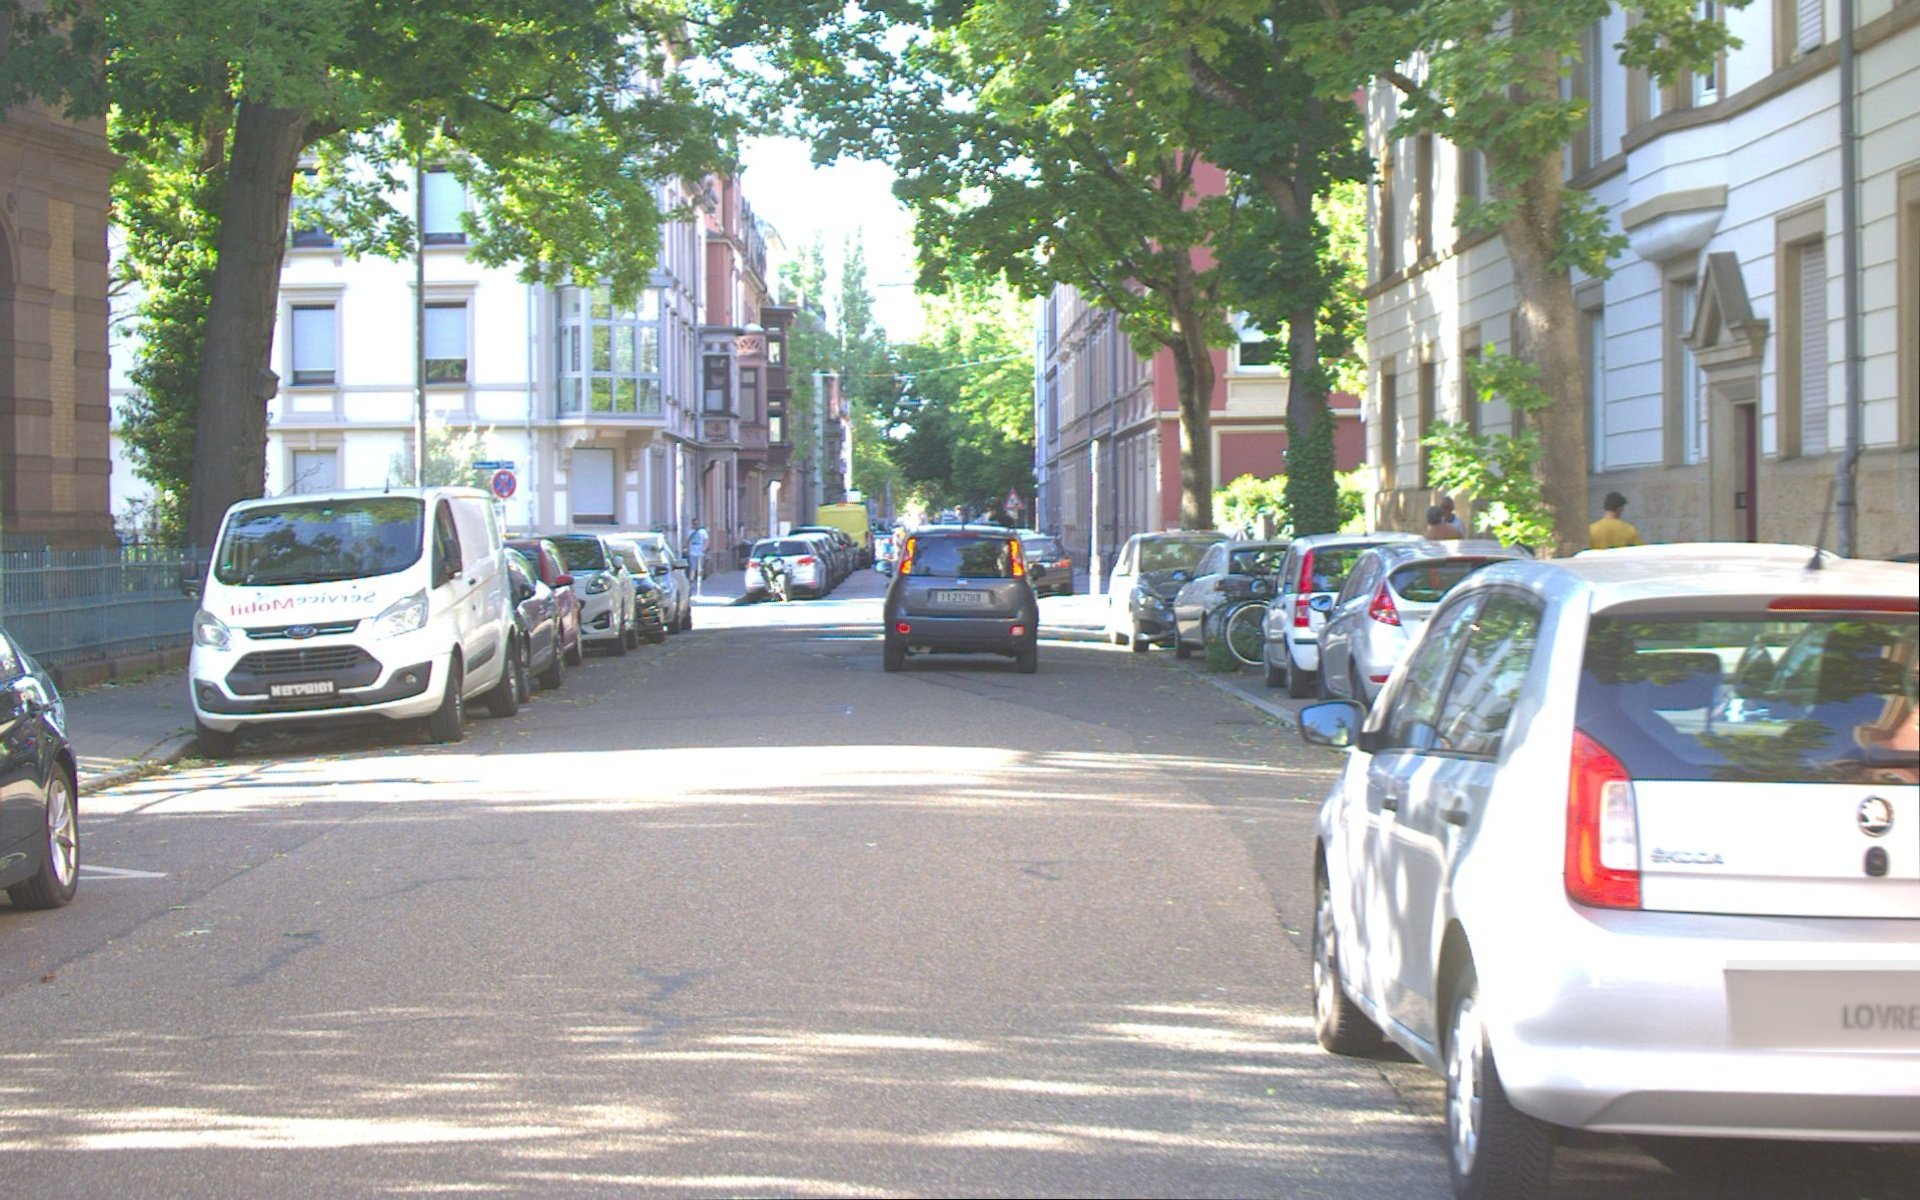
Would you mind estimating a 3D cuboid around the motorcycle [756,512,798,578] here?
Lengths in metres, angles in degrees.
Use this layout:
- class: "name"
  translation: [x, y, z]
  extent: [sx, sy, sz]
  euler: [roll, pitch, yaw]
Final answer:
- class: "motorcycle"
  translation: [-4.087, -1.234, 76.689]
  extent: [0.696, 1.455, 1.751]
  euler: [-2, 2, -10]

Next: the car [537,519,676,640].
- class: "car"
  translation: [-4.955, -0.328, 48.195]
  extent: [1.746, 1.469, 4.465]
  euler: [-4, 2, -6]

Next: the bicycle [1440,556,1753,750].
- class: "bicycle"
  translation: [4.338, 0.354, 23.528]
  extent: [1.969, 1.225, 0.760]
  euler: [-2, 1, 1]

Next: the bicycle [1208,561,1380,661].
- class: "bicycle"
  translation: [3.569, 0.115, 36.787]
  extent: [1.769, 1.036, 0.606]
  euler: [0, 1, 0]

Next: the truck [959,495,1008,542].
- class: "truck"
  translation: [0.986, -3.488, 146.275]
  extent: [1.993, 1.985, 4.000]
  euler: [0, 2, 0]

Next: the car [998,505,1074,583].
- class: "car"
  translation: [1.691, -1.284, 77.522]
  extent: [1.663, 1.663, 3.757]
  euler: [1, 2, 1]

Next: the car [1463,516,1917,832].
- class: "car"
  translation: [3.791, 0.312, 18.427]
  extent: [1.596, 1.483, 3.748]
  euler: [-1, 1, 0]

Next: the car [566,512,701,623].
- class: "car"
  translation: [-5.021, -0.533, 53.292]
  extent: [1.696, 1.545, 3.920]
  euler: [-4, 2, -1]

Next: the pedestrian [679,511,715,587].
- class: "pedestrian"
  translation: [-6.449, -1.257, 84.339]
  extent: [0.723, 1.833, 0.626]
  euler: [1, 2, 11]

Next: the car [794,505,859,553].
- class: "car"
  translation: [-4.580, -2.453, 118.482]
  extent: [1.962, 1.474, 3.925]
  euler: [-4, 2, 1]

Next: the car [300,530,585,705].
- class: "car"
  translation: [-4.881, 0.110, 33.054]
  extent: [2.001, 1.452, 4.606]
  euler: [-3, 2, 0]

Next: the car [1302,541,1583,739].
- class: "car"
  translation: [3.754, 0.259, 27.329]
  extent: [1.622, 1.389, 4.158]
  euler: [-1, 1, 0]

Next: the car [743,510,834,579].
- class: "car"
  translation: [-3.973, -1.305, 79.986]
  extent: [1.797, 1.427, 3.925]
  euler: [-4, 2, 1]

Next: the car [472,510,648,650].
- class: "car"
  translation: [-4.981, -0.292, 43.282]
  extent: [1.824, 1.548, 4.134]
  euler: [-4, 2, -3]

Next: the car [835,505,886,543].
- class: "car"
  translation: [-4.257, -3.271, 147.848]
  extent: [1.962, 1.474, 3.925]
  euler: [-4, 2, 1]

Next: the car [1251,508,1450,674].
- class: "car"
  translation: [3.727, -0.127, 33.256]
  extent: [1.520, 1.505, 3.544]
  euler: [-1, 2, 0]

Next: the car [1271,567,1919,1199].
- class: "car"
  translation: [1.866, 0.731, 8.887]
  extent: [1.679, 1.539, 3.801]
  euler: [1, 2, -1]

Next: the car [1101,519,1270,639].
- class: "car"
  translation: [3.021, -0.324, 46.909]
  extent: [1.788, 1.545, 4.410]
  euler: [0, 1, -3]

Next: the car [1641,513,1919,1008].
- class: "car"
  translation: [3.807, 0.458, 12.206]
  extent: [1.786, 1.508, 4.460]
  euler: [0, 2, -1]

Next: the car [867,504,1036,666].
- class: "car"
  translation: [-0.133, -0.197, 36.500]
  extent: [1.632, 1.544, 3.265]
  euler: [1, 2, -2]

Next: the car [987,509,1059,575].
- class: "car"
  translation: [1.492, -1.394, 82.015]
  extent: [1.663, 1.500, 3.757]
  euler: [1, 2, 1]

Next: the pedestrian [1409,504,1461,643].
- class: "pedestrian"
  translation: [5.921, -0.337, 42.877]
  extent: [0.489, 1.700, 0.757]
  euler: [1, 1, -1]

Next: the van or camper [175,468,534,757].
- class: "van or camper"
  translation: [-4.703, 0.026, 27.532]
  extent: [1.921, 1.973, 5.462]
  euler: [-3, 1, -1]

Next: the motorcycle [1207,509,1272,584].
- class: "motorcycle"
  translation: [5.622, -1.081, 68.992]
  extent: [1.020, 1.399, 2.191]
  euler: [0, 4, 12]

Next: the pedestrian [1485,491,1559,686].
- class: "pedestrian"
  translation: [5.064, -0.115, 30.998]
  extent: [0.520, 1.729, 0.878]
  euler: [-1, 1, 1]

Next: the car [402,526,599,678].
- class: "car"
  translation: [-5.014, -0.023, 37.955]
  extent: [1.601, 1.455, 4.028]
  euler: [-3, 2, -1]

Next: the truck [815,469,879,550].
- class: "truck"
  translation: [-4.345, -3.504, 132.570]
  extent: [2.070, 2.916, 5.068]
  euler: [-4, 2, 1]

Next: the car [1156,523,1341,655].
- class: "car"
  translation: [3.427, -0.172, 41.424]
  extent: [1.610, 1.473, 3.871]
  euler: [-1, 2, -5]

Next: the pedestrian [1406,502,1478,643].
- class: "pedestrian"
  translation: [5.864, -0.342, 41.864]
  extent: [0.778, 1.688, 0.874]
  euler: [0, 1, 3]

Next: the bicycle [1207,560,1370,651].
- class: "bicycle"
  translation: [3.625, 0.057, 38.009]
  extent: [1.715, 0.946, 0.733]
  euler: [-1, 2, 0]

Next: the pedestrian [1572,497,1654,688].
- class: "pedestrian"
  translation: [5.863, -0.075, 30.899]
  extent: [0.595, 1.695, 0.689]
  euler: [0, 1, 1]

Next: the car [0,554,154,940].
- class: "car"
  translation: [-4.458, 0.616, 13.011]
  extent: [1.713, 1.390, 4.780]
  euler: [-4, 2, -1]

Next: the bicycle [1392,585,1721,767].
- class: "bicycle"
  translation: [3.811, 0.480, 22.048]
  extent: [1.969, 1.069, 0.599]
  euler: [-2, 1, 1]
